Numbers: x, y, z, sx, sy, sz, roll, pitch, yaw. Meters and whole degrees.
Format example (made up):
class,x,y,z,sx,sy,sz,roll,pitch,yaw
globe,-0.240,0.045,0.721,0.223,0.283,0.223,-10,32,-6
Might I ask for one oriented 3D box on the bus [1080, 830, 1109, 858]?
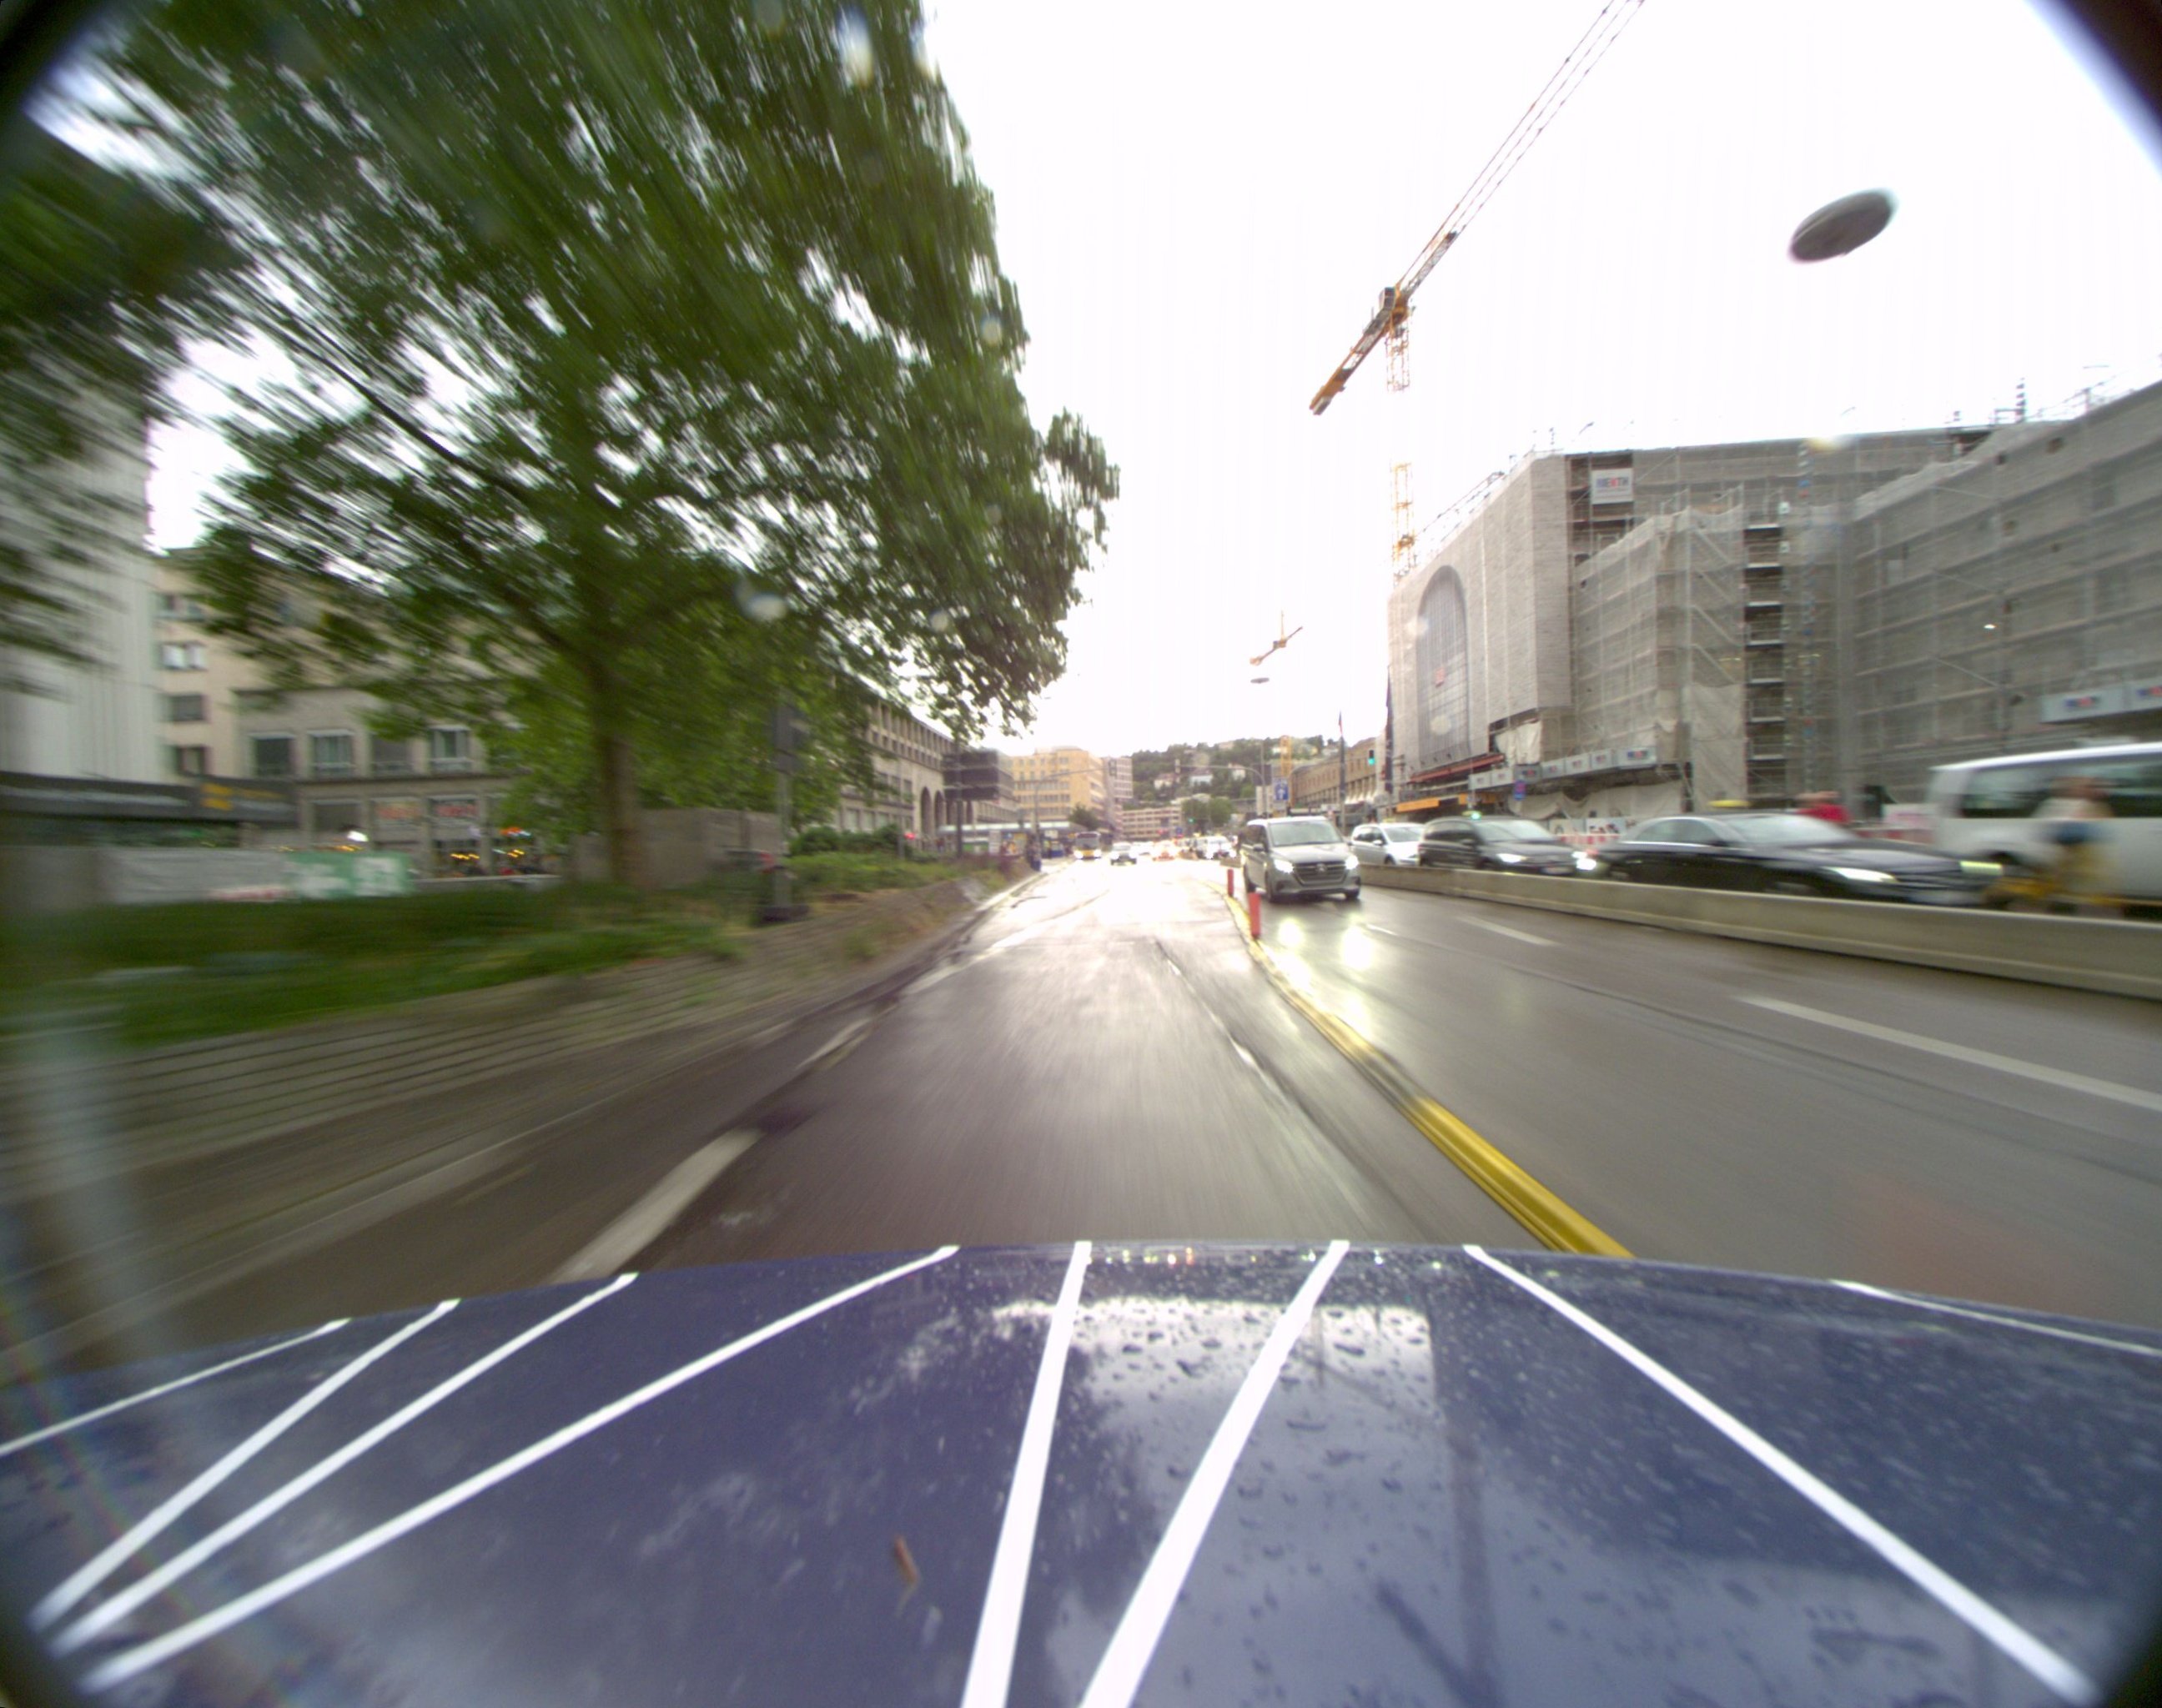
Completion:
class,x,y,z,sx,sy,sz,roll,pitch,yaw
bus,1.783,-1.289,95.207,3.148,3.229,9.135,-3,1,4

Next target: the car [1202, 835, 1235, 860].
class,x,y,z,sx,sy,sz,roll,pitch,yaw
car,9.771,-0.506,54.298,1.790,1.676,4.667,-1,1,3

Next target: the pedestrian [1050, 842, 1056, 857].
class,x,y,z,sx,sy,sz,roll,pitch,yaw
pedestrian,-3.094,-0.451,83.048,0.595,1.610,0.511,-2,2,-7

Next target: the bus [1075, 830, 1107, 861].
class,x,y,z,sx,sy,sz,roll,pitch,yaw
bus,1.259,-1.032,86.081,3.120,3.187,9.241,-3,1,3

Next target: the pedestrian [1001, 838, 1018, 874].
class,x,y,z,sx,sy,sz,roll,pitch,yaw
pedestrian,-4.257,0.120,45.198,0.709,2.134,0.722,-2,2,12

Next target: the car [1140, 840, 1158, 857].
class,x,y,z,sx,sy,sz,roll,pitch,yaw
car,7.725,-0.656,86.749,1.871,1.747,3.902,-3,1,3

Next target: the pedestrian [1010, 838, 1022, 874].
class,x,y,z,sx,sy,sz,roll,pitch,yaw
pedestrian,-3.926,0.119,45.983,0.556,2.134,0.667,-2,2,-11

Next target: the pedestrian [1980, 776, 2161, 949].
class,x,y,z,sx,sy,sz,roll,pitch,yaw
pedestrian,10.892,0.086,8.375,0.834,1.773,1.029,-2,1,17

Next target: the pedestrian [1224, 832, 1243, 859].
class,x,y,z,sx,sy,sz,roll,pitch,yaw
pedestrian,11.515,-0.635,57.405,1.028,2.002,0.835,-2,1,-18

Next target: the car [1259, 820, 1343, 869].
class,x,y,z,sx,sy,sz,roll,pitch,yaw
car,9.242,-0.417,32.354,1.999,1.835,5.060,-3,1,-1

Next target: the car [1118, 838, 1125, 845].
class,x,y,z,sx,sy,sz,roll,pitch,yaw
car,11.941,-3.613,223.065,1.998,1.874,4.998,-2,1,5

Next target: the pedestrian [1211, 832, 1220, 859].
class,x,y,z,sx,sy,sz,roll,pitch,yaw
pedestrian,10.319,-0.667,58.300,0.529,2.002,0.890,-2,1,1

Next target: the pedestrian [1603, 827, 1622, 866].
class,x,y,z,sx,sy,sz,roll,pitch,yaw
pedestrian,26.375,-0.373,37.699,0.715,1.871,0.861,0,3,33

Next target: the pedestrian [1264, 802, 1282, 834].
class,x,y,z,sx,sy,sz,roll,pitch,yaw
pedestrian,11.727,-2.181,46.393,0.832,1.875,0.691,-2,1,-7

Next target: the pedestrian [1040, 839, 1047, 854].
class,x,y,z,sx,sy,sz,roll,pitch,yaw
pedestrian,-4.702,-0.917,94.376,0.795,1.918,0.705,-2,2,-7

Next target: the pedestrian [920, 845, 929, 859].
class,x,y,z,sx,sy,sz,roll,pitch,yaw
pedestrian,-19.336,-0.253,93.888,0.733,1.782,0.789,-2,2,3

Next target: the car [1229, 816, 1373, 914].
class,x,y,z,sx,sy,sz,roll,pitch,yaw
car,5.008,0.193,18.145,1.998,1.893,5.250,-3,1,2

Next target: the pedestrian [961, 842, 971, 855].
class,x,y,z,sx,sy,sz,roll,pitch,yaw
pedestrian,-14.101,-0.706,93.137,0.787,1.580,0.994,0,2,40

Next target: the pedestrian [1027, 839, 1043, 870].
class,x,y,z,sx,sy,sz,roll,pitch,yaw
pedestrian,-2.746,0.037,45.285,0.789,1.828,0.949,-2,2,-11

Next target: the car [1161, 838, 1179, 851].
class,x,y,z,sx,sy,sz,roll,pitch,yaw
car,12.114,-1.261,103.414,1.998,1.696,4.832,-2,1,2

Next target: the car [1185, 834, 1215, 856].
class,x,y,z,sx,sy,sz,roll,pitch,yaw
car,10.328,-0.802,66.416,1.998,1.777,4.847,-2,1,2

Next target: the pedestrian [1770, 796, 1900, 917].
class,x,y,z,sx,sy,sz,roll,pitch,yaw
pedestrian,10.902,0.035,11.028,1.027,1.665,0.836,-2,1,5

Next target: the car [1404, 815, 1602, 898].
class,x,y,z,sx,sy,sz,roll,pitch,yaw
car,9.084,0.000,16.879,1.828,1.502,4.489,-3,1,-1

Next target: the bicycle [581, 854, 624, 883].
class,x,y,z,sx,sy,sz,roll,pitch,yaw
bicycle,-27.030,0.811,42.968,0.794,1.553,2.132,-2,1,11

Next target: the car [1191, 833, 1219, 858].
class,x,y,z,sx,sy,sz,roll,pitch,yaw
car,9.892,-0.679,60.830,1.717,1.881,4.610,-1,1,3

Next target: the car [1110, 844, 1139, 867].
class,x,y,z,sx,sy,sz,roll,pitch,yaw
car,3.219,0.087,55.656,1.822,1.455,4.701,-5,1,5

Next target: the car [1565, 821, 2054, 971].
class,x,y,z,sx,sy,sz,roll,pitch,yaw
car,9.419,0.397,10.646,1.978,1.502,5.003,-3,1,-1

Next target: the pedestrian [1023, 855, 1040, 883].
class,x,y,z,sx,sy,sz,roll,pitch,yaw
pedestrian,-3.033,0.913,46.393,0.877,1.681,0.758,-2,1,3

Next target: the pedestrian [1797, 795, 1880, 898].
class,x,y,z,sx,sy,sz,roll,pitch,yaw
pedestrian,13.362,-0.137,13.423,0.636,1.743,0.822,-3,2,6

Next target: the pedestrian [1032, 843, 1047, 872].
class,x,y,z,sx,sy,sz,roll,pitch,yaw
pedestrian,-2.607,0.235,47.582,0.748,1.794,0.709,-2,2,-11

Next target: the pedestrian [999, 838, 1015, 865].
class,x,y,z,sx,sy,sz,roll,pitch,yaw
pedestrian,-4.327,-0.148,44.427,0.657,1.546,0.635,-2,2,17

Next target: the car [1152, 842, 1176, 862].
class,x,y,z,sx,sy,sz,roll,pitch,yaw
car,6.652,-0.185,60.961,1.708,1.485,3.670,-3,1,5

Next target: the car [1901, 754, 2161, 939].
class,x,y,z,sx,sy,sz,roll,pitch,yaw
car,12.662,-0.126,8.072,1.999,2.002,5.367,-3,1,-2

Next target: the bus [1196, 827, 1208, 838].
class,x,y,z,sx,sy,sz,roll,pitch,yaw
bus,40.212,-7.094,252.860,2.915,3.557,19.082,-1,1,6

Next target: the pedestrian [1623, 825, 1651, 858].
class,x,y,z,sx,sy,sz,roll,pitch,yaw
pedestrian,28.499,-0.650,38.940,1.029,1.654,0.834,-2,3,-30

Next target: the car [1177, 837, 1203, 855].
class,x,y,z,sx,sy,sz,roll,pitch,yaw
car,11.064,-0.840,77.479,2.054,1.702,5.055,-2,1,2

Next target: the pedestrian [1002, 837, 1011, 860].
class,x,y,z,sx,sy,sz,roll,pitch,yaw
pedestrian,-6.279,-0.472,63.940,0.708,1.922,0.788,-2,2,-6

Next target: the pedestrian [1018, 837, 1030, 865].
class,x,y,z,sx,sy,sz,roll,pitch,yaw
pedestrian,-3.686,-0.211,49.176,0.541,1.794,0.756,-2,2,-25

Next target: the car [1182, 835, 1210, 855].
class,x,y,z,sx,sy,sz,roll,pitch,yaw
car,10.918,-0.896,72.395,1.998,1.777,4.453,-2,1,1

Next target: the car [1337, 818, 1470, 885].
class,x,y,z,sx,sy,sz,roll,pitch,yaw
car,9.405,-0.125,22.643,1.828,1.686,4.772,-3,1,-1

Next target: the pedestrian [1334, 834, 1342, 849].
class,x,y,z,sx,sy,sz,roll,pitch,yaw
pedestrian,29.685,-1.441,87.652,0.678,1.604,0.839,-2,1,6
